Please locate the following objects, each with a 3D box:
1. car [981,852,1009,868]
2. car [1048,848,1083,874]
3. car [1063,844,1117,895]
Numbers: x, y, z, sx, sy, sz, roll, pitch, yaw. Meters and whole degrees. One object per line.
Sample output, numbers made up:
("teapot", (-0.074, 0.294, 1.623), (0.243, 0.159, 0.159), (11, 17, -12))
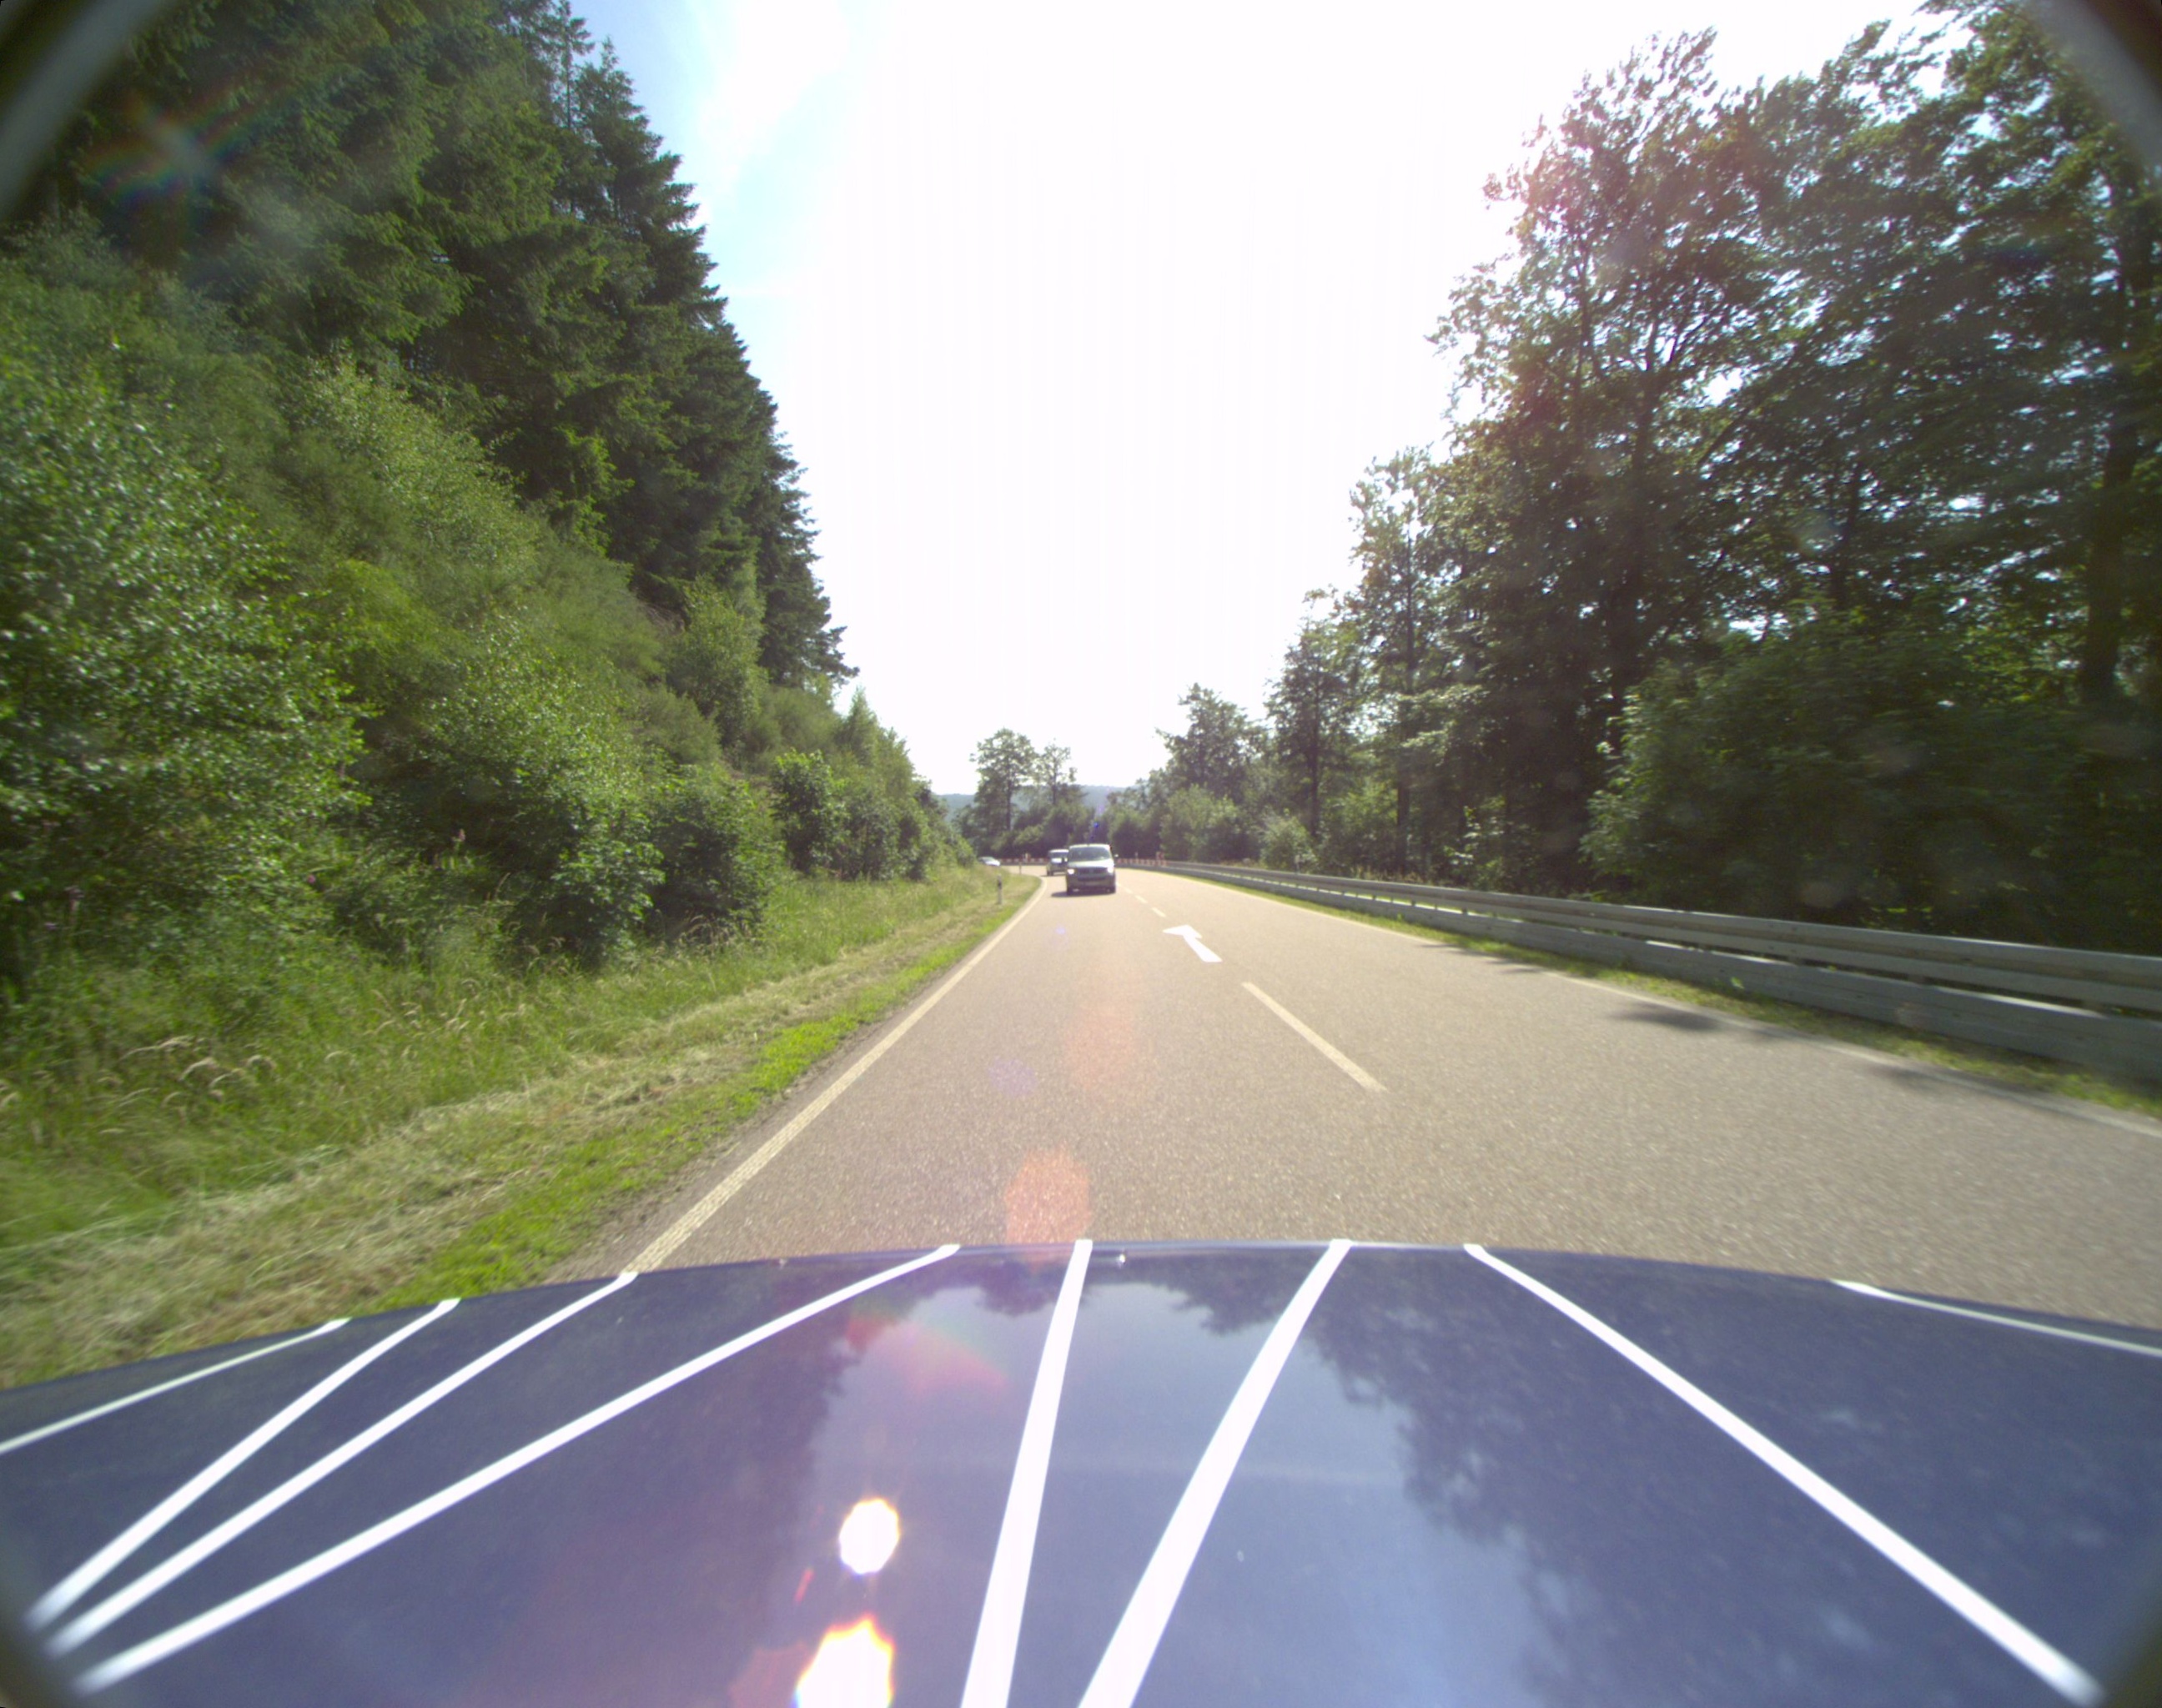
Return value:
("car", (-9.591, 0.654, 84.080), (2.002, 1.718, 3.993), (-3, 1, -22))
("car", (-1.233, 0.509, 58.288), (2.138, 1.825, 4.719), (-2, 1, -7))
("car", (0.309, 0.590, 31.969), (1.991, 1.899, 4.759), (-3, 0, -1))
